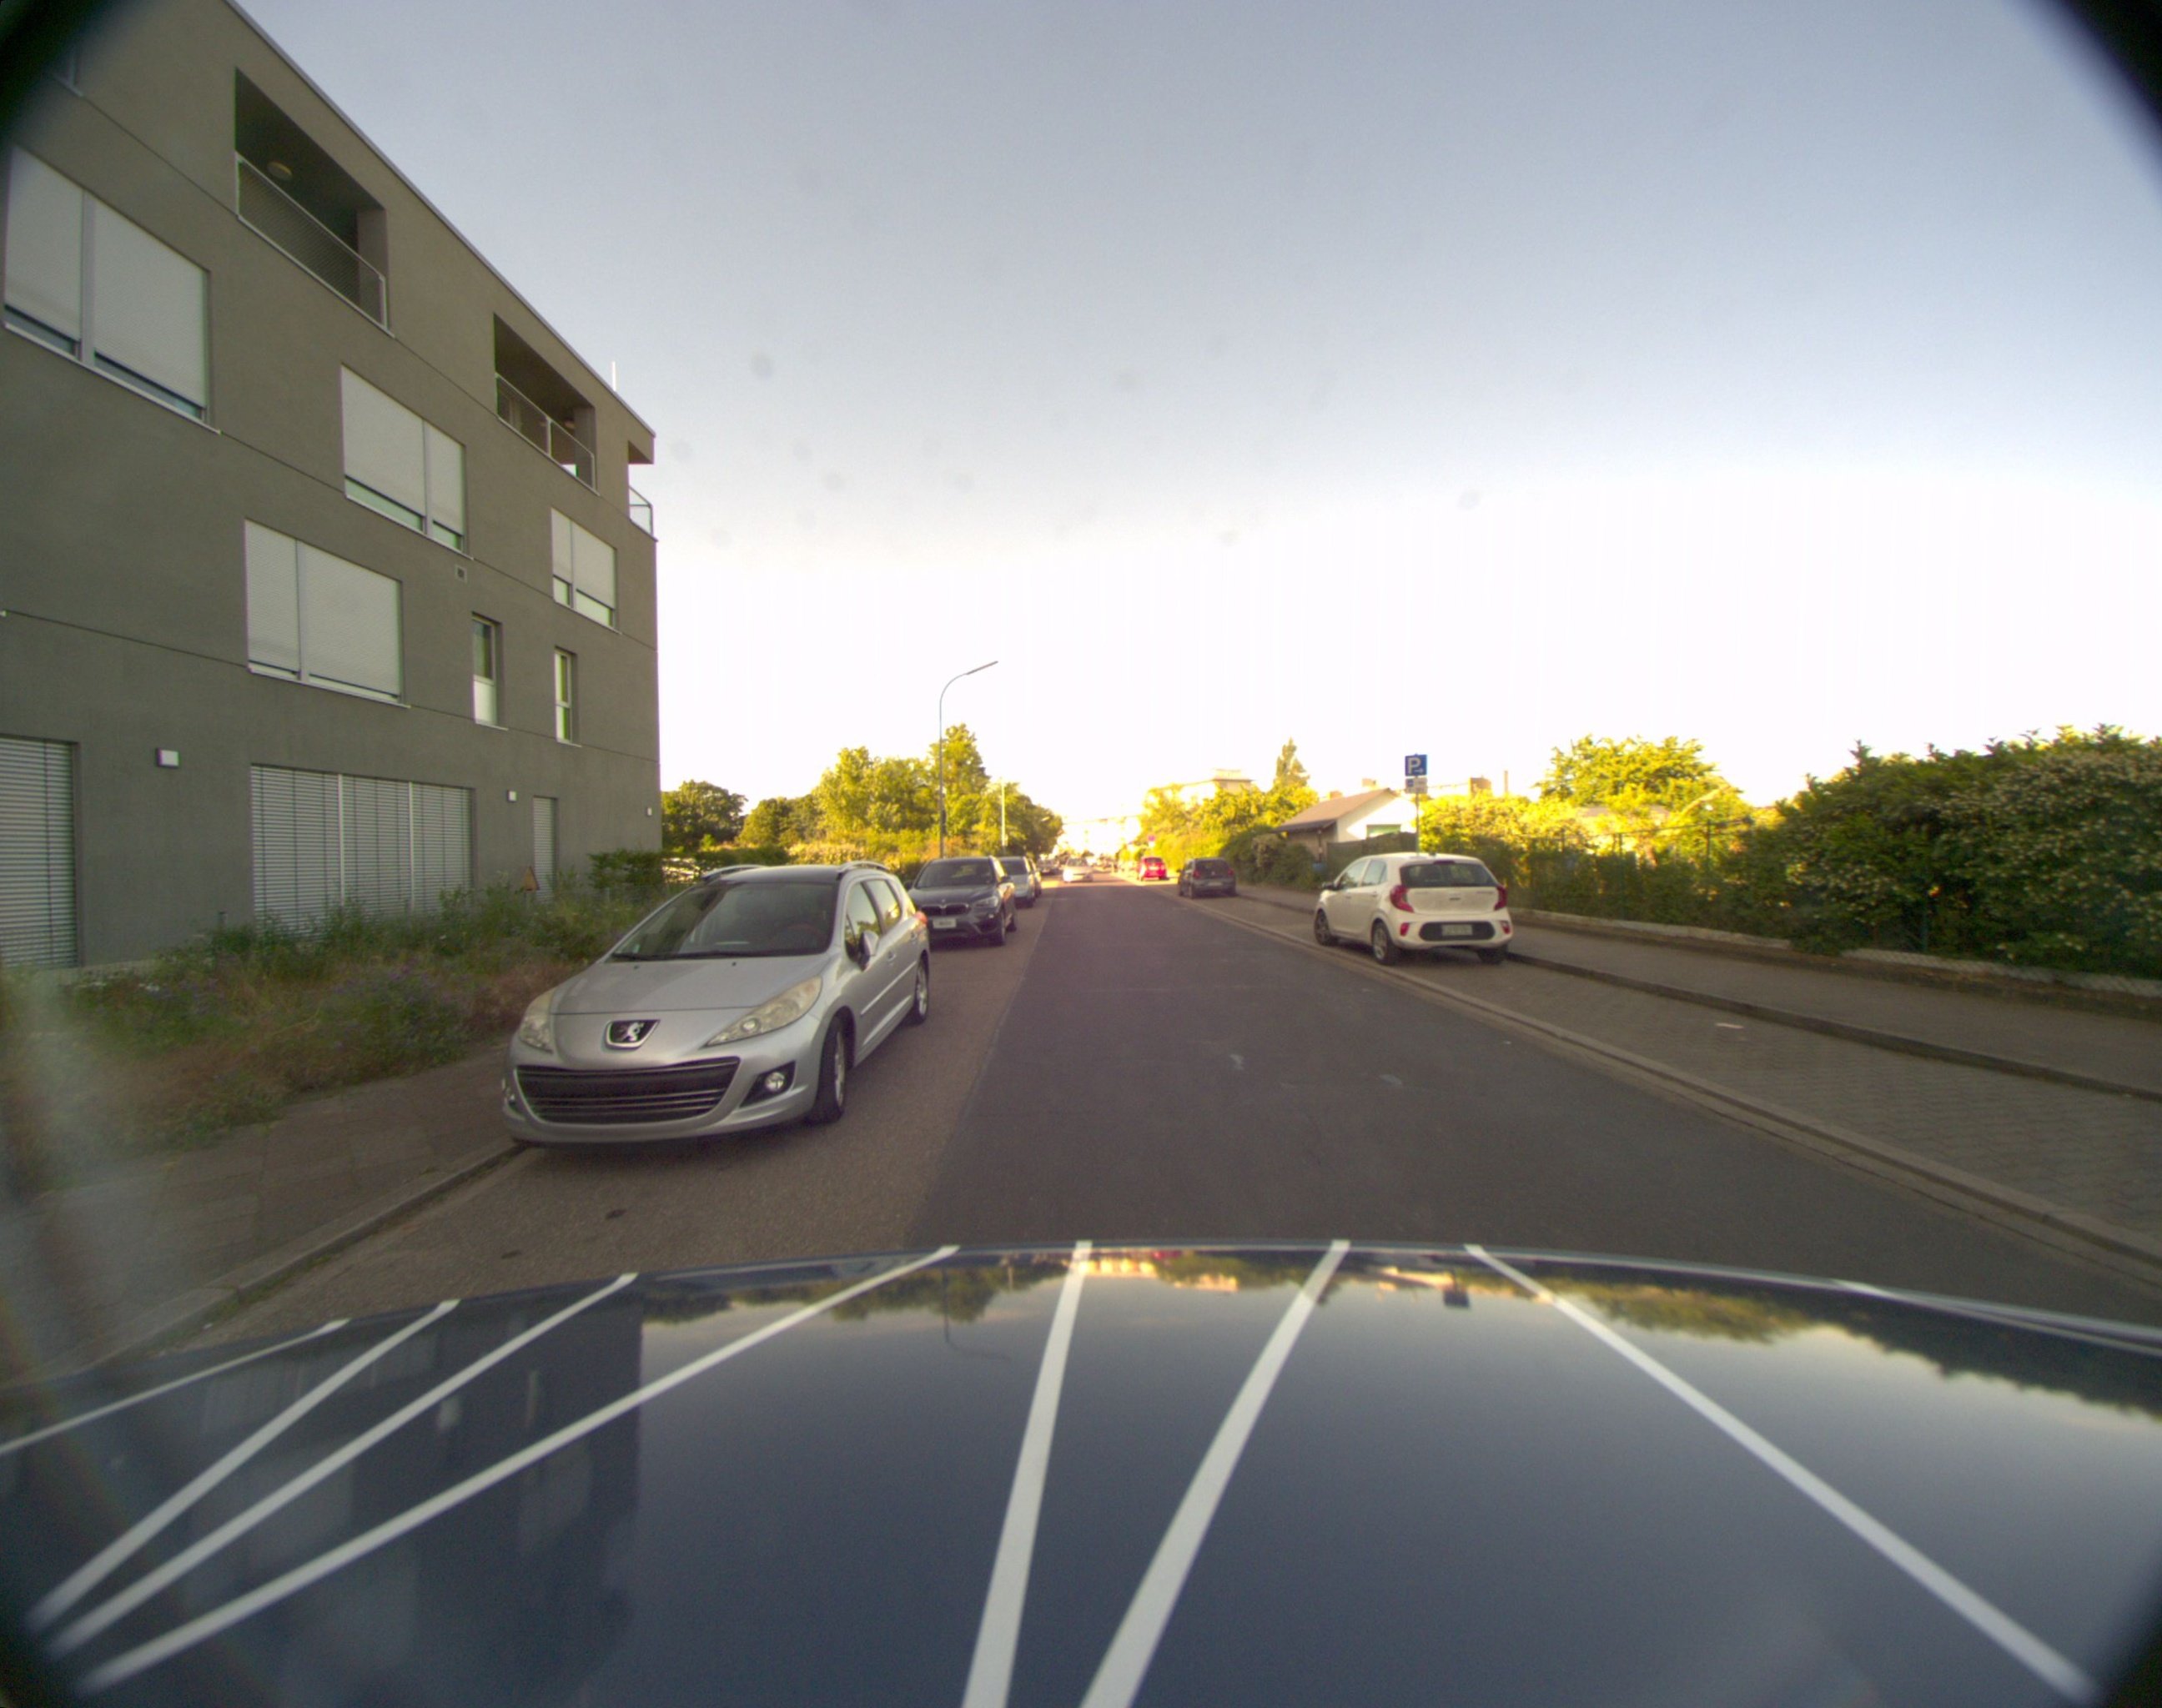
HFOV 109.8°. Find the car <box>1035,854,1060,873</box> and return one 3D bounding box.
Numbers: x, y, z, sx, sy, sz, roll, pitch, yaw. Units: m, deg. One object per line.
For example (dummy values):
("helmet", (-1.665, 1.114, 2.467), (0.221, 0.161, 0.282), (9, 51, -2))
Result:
("car", (-2.835, 0.791, 65.373), (1.873, 1.517, 4.154), (-1, 0, 0))

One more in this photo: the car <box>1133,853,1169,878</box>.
("car", (4.264, 0.673, 46.792), (1.700, 1.421, 4.385), (-1, 0, -1))

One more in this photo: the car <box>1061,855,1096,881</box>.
("car", (-0.207, 0.796, 45.402), (1.680, 1.440, 3.998), (-1, 0, -6))

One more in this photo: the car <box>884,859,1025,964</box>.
("car", (-2.201, 0.941, 14.599), (1.749, 1.557, 4.803), (-3, 0, 1))

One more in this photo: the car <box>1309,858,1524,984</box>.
("car", (4.628, 0.828, 11.015), (1.531, 1.479, 3.401), (-2, 0, -1))

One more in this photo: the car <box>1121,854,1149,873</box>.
("car", (3.988, 0.681, 56.692), (1.700, 1.361, 3.910), (-1, 0, -1))

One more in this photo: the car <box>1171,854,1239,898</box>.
("car", (4.596, 0.770, 28.715), (1.700, 1.415, 4.516), (-3, 0, -1))

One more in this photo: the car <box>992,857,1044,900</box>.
("car", (-2.430, 0.928, 29.972), (1.711, 1.517, 3.092), (-3, 0, 0))

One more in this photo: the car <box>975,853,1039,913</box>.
("car", (-2.327, 0.879, 24.932), (1.711, 1.695, 4.349), (-4, 0, -2))

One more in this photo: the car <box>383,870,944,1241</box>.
("car", (-2.264, 0.958, 5.522), (1.711, 1.517, 4.154), (-2, 0, 0))
